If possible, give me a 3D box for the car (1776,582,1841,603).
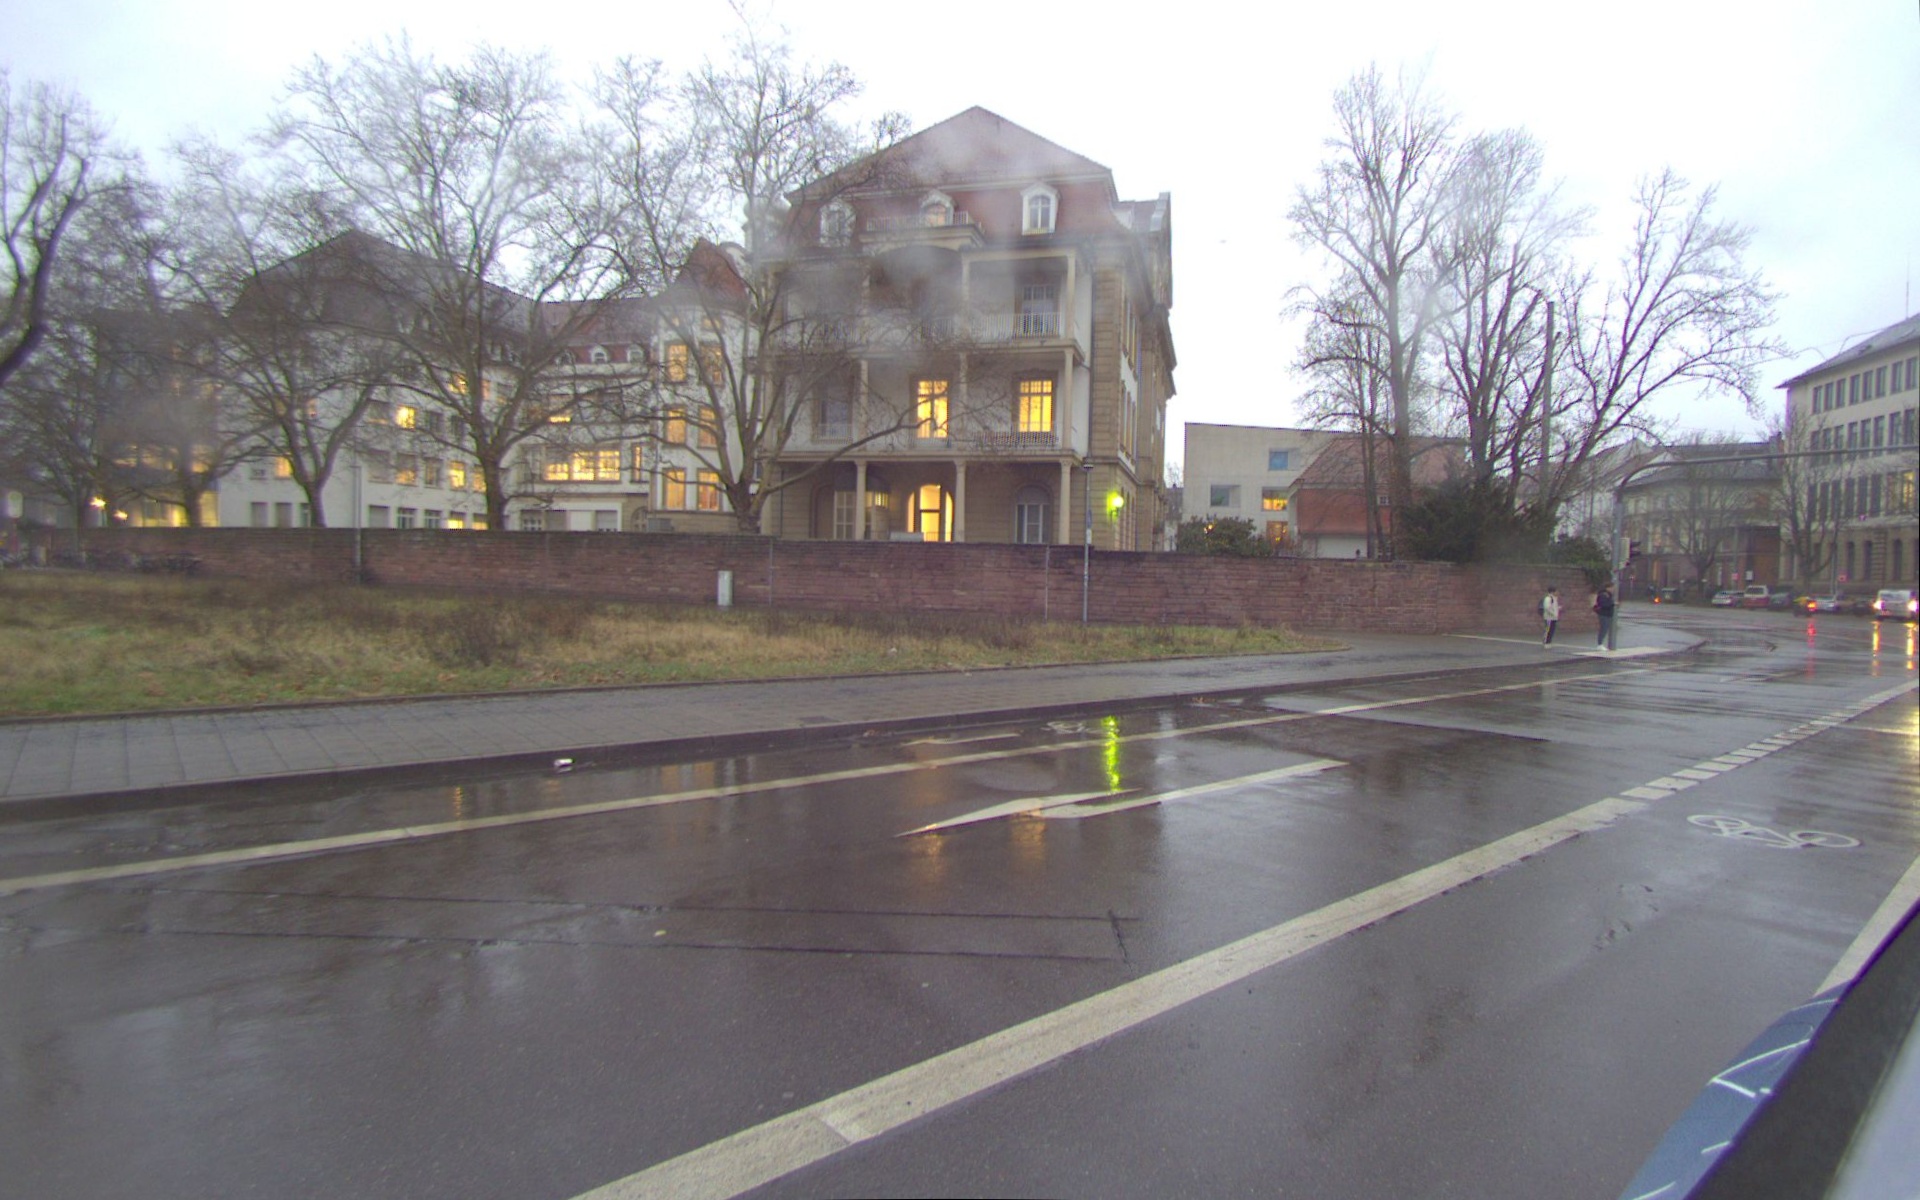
[{"bbox_3d":[64.703,-0.580,77.218,3.916,1.570,1.805,0,0,-13],"label":"car"}]

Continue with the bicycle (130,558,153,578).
[{"bbox_3d":[-38.625,-1.505,47.768,1.519,0.869,0.389,0,0,33],"label":"bicycle"}]

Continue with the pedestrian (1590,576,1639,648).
[{"bbox_3d":[18.292,0.322,28.296,0.996,1.924,0.664,4,3,41],"label":"pedestrian"}]

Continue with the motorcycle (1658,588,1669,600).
[{"bbox_3d":[63.568,-0.545,91.431,0.721,1.067,2.142,3,2,33],"label":"motorcycle"}]

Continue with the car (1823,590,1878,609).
[{"bbox_3d":[63.606,-0.076,72.292,3.568,1.322,1.712,-1,0,-25],"label":"car"}]

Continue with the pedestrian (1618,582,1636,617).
[{"bbox_3d":[32.441,-0.033,49.212,0.610,1.674,0.565,3,2,29],"label":"pedestrian"}]

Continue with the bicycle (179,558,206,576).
[{"bbox_3d":[-34.209,-1.466,45.110,1.399,0.796,0.355,0,0,26],"label":"bicycle"}]

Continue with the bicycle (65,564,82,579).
[{"bbox_3d":[-47.894,-1.536,54.674,1.522,0.796,0.389,0,0,38],"label":"bicycle"}]

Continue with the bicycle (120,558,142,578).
[{"bbox_3d":[-39.907,-1.537,48.721,1.519,0.928,0.389,0,0,33],"label":"bicycle"}]

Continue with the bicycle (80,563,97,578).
[{"bbox_3d":[-45.440,-1.530,52.742,1.522,0.796,0.389,0,0,38],"label":"bicycle"}]

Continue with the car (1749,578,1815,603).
[{"bbox_3d":[64.985,-0.785,80.015,3.916,1.924,2.052,0,0,-13],"label":"car"}]

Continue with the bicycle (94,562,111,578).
[{"bbox_3d":[-43.129,-1.493,50.897,1.522,0.796,0.389,0,0,38],"label":"bicycle"}]

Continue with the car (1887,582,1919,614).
[{"bbox_3d":[58.112,-0.121,61.223,3.920,1.868,1.886,-1,0,-30],"label":"car"}]

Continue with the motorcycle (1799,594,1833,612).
[{"bbox_3d":[53.986,0.188,63.856,0.703,1.067,2.158,3,2,15],"label":"motorcycle"}]

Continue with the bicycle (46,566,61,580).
[{"bbox_3d":[-51.607,-1.545,57.594,1.522,0.796,0.389,0,0,38],"label":"bicycle"}]

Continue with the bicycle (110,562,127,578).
[{"bbox_3d":[-41.473,-1.474,49.876,1.599,0.796,0.388,0,0,41],"label":"bicycle"}]

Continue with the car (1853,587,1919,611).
[{"bbox_3d":[61.966,-0.055,66.998,3.927,1.570,1.800,0,0,4],"label":"car"}]

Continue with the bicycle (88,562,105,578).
[{"bbox_3d":[-44.177,-1.527,51.768,1.522,0.796,0.389,0,0,38],"label":"bicycle"}]

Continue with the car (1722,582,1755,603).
[{"bbox_3d":[66.485,-0.638,86.380,1.992,1.690,3.940,0,1,42],"label":"car"}]

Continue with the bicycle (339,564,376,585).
[{"bbox_3d":[-23.384,-0.986,39.270,1.366,0.835,0.392,0,0,14],"label":"bicycle"}]

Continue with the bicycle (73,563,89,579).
[{"bbox_3d":[-46.671,-1.533,53.720,1.522,0.796,0.389,0,0,38],"label":"bicycle"}]

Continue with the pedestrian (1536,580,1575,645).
[{"bbox_3d":[16.587,0.332,28.169,0.795,1.744,0.665,3,3,38],"label":"pedestrian"}]

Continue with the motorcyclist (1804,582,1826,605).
[{"bbox_3d":[54.044,-0.434,63.963,0.691,1.400,0.863,2,2,15],"label":"motorcyclist"}]

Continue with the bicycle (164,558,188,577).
[{"bbox_3d":[-35.549,-1.466,45.859,1.519,0.796,0.389,0,0,33],"label":"bicycle"}]

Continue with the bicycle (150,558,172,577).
[{"bbox_3d":[-37.029,-1.495,46.885,1.480,0.849,0.346,0,0,32],"label":"bicycle"}]

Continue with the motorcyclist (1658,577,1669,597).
[{"bbox_3d":[63.568,-1.153,91.394,0.706,1.738,0.733,3,2,33],"label":"motorcyclist"}]
